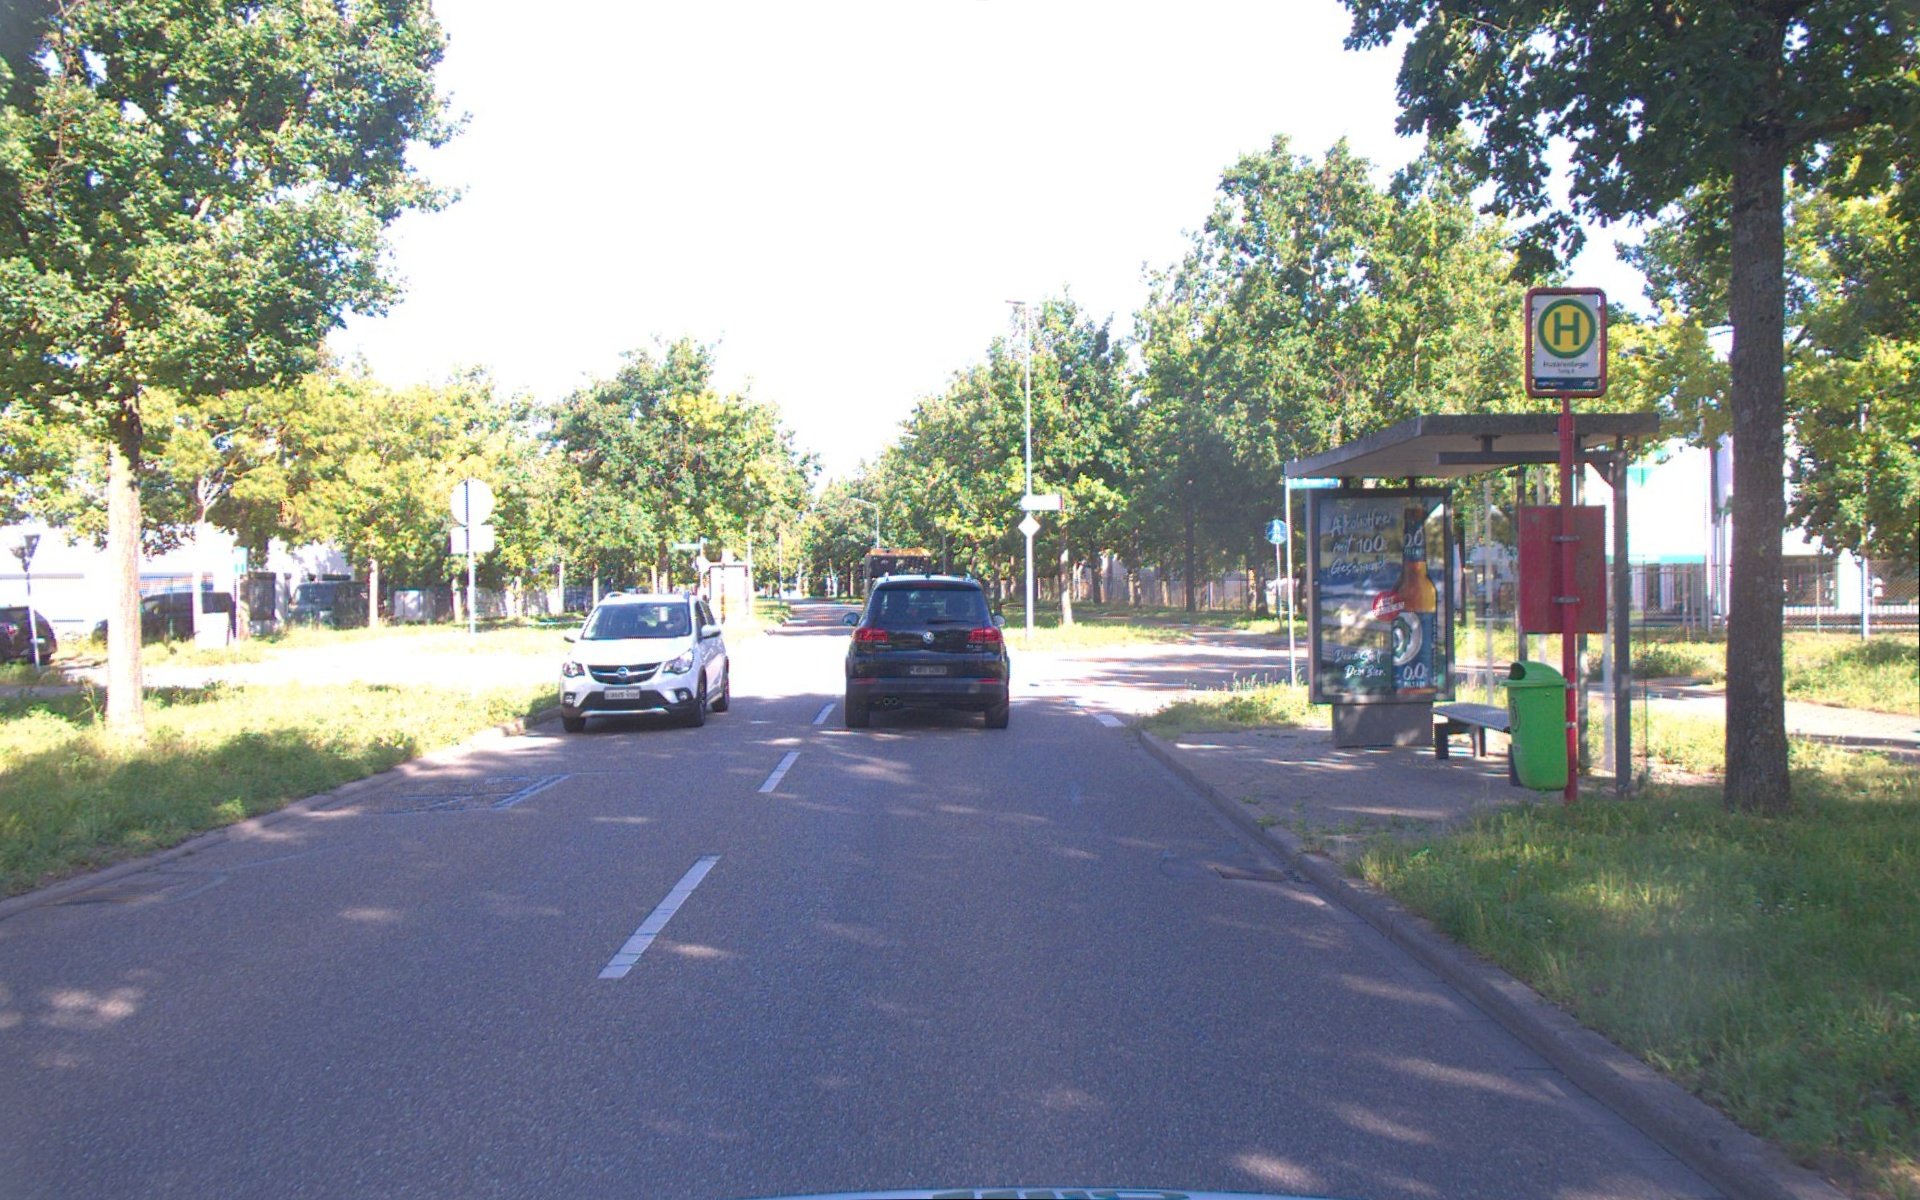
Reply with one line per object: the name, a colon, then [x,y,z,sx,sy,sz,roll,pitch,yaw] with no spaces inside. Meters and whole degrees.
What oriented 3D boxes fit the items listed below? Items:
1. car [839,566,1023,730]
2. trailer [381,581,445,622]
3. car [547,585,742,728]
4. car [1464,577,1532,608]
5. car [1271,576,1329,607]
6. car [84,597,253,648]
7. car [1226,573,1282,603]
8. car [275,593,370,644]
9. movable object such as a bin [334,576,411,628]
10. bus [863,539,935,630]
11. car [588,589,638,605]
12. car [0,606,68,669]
car: [-0.326,0.475,19.462,1.896,1.685,4.426,1,1,-1]
trailer: [-27.211,0.038,82.372,2.060,1.948,3.739,-1,1,-2]
car: [-3.730,0.590,20.236,1.709,1.490,4.424,-2,1,-3]
car: [25.696,-0.378,79.135,1.731,1.408,3.763,-1,1,-6]
car: [20.643,-0.529,100.550,2.142,1.774,4.636,-1,1,-6]
car: [-25.191,0.714,52.741,4.409,1.505,1.941,-1,0,-1]
car: [17.779,-0.738,100.245,2.142,1.774,4.636,-1,1,-6]
car: [-26.540,0.724,69.058,1.995,2.023,5.802,-1,0,-4]
movable object such as a bin: [-26.679,0.079,75.260,2.060,2.255,4.458,-1,1,-2]
bus: [-2.722,-0.678,70.394,2.709,3.517,11.202,-1,1,-4]
car: [-31.307,-0.260,149.345,4.112,1.344,1.941,-1,1,1]
car: [-25.431,0.979,43.041,3.591,1.559,1.824,-1,0,13]
